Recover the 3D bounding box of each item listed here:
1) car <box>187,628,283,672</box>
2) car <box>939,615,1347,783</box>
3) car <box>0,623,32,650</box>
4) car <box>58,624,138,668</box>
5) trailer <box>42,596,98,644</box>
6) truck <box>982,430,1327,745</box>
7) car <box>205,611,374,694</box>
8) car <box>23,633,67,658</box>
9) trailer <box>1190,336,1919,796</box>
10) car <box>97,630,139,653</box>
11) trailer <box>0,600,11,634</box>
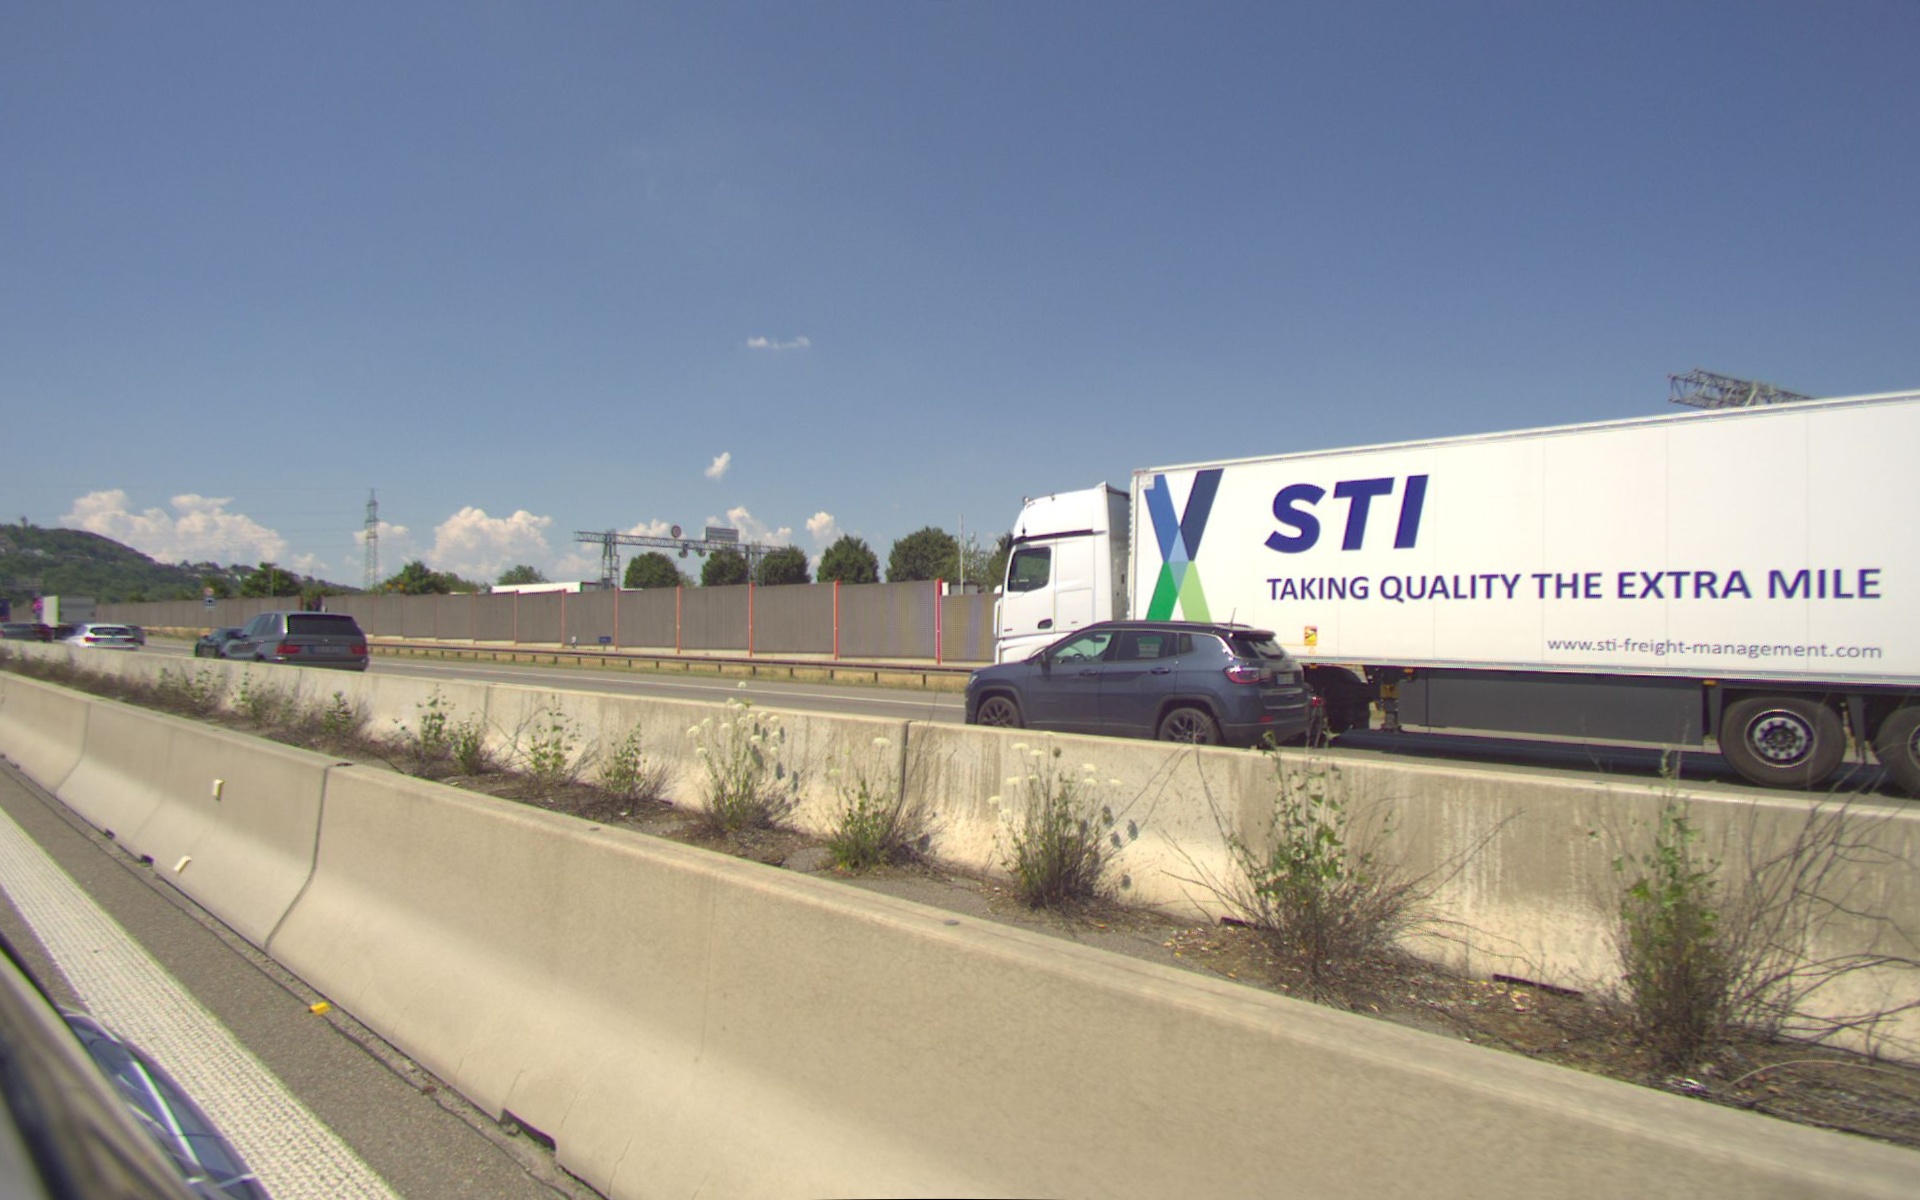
[{"bbox_3d":[-27.253,1.858,37.976,4.960,1.497,1.793,-1,-4,41],"label":"car"},{"bbox_3d":[2.014,1.036,12.190,4.663,1.664,1.638,-2,-2,41],"label":"car"},{"bbox_3d":[-55.933,2.127,59.464,3.998,1.530,1.638,-1,-1,41],"label":"car"},{"bbox_3d":[-32.804,1.698,38.478,4.506,1.530,1.657,-1,-1,41],"label":"car"},{"bbox_3d":[-76.041,1.729,86.421,6.613,3.903,2.620,-1,-2,41],"label":"trailer"},{"bbox_3d":[3.165,-0.082,16.869,4.900,4.408,2.841,-1,-4,41],"label":"truck"},{"bbox_3d":[-14.694,1.064,22.055,4.818,1.629,1.870,-1,-1,41],"label":"car"},{"bbox_3d":[-67.995,3.334,75.159,3.998,1.772,1.973,-2,-2,41],"label":"car"},{"bbox_3d":[9.176,-0.253,11.591,12.986,4.408,2.862,-1,-4,41],"label":"trailer"},{"bbox_3d":[-59.628,2.931,71.640,3.998,1.530,1.638,-1,-2,41],"label":"car"},{"bbox_3d":[-122.979,2.143,127.869,15.156,4.097,2.953,-1,-1,41],"label":"trailer"}]
